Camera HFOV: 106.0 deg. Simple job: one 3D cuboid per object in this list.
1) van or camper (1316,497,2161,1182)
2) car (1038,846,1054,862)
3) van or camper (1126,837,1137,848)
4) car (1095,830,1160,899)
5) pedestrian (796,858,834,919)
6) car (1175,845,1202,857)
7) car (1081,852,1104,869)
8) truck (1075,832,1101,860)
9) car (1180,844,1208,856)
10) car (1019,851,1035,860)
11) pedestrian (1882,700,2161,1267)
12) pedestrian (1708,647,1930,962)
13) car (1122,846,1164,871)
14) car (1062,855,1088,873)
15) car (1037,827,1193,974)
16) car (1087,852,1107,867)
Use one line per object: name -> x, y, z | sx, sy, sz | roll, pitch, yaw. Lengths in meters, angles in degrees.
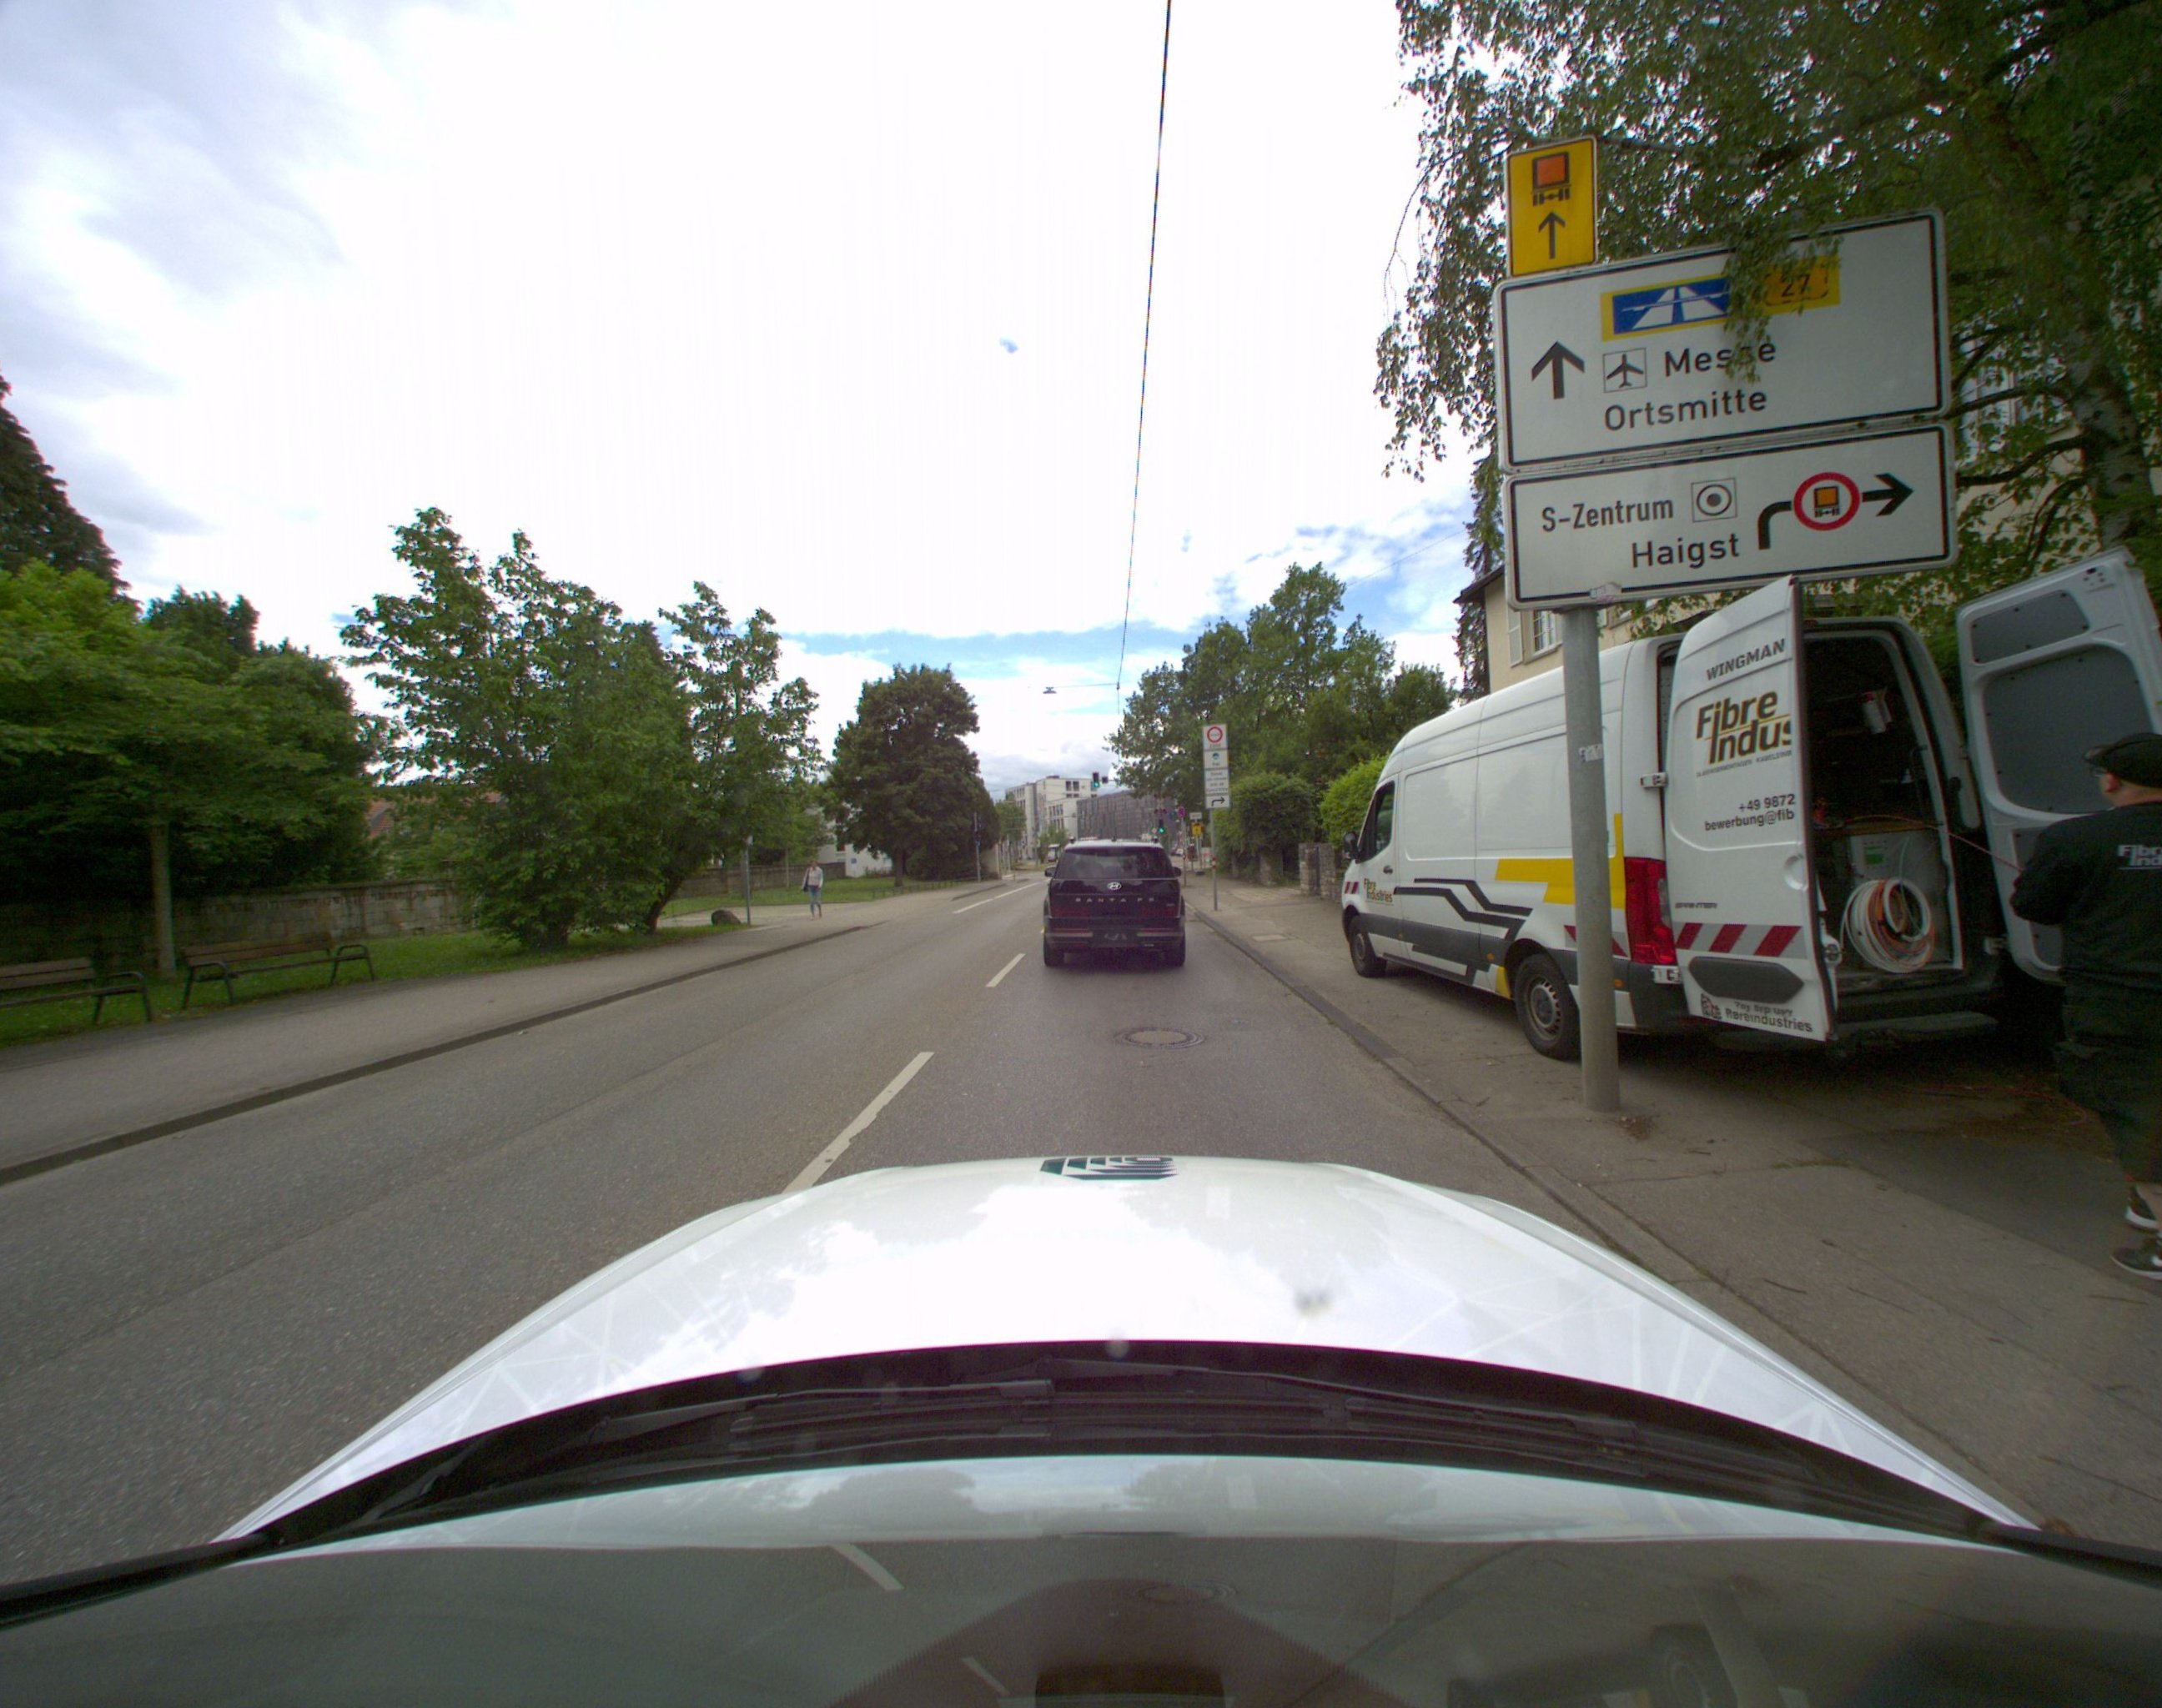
van or camper -> 4.082, -0.064, 6.423 | 2.333, 2.494, 6.601 | -6, -1, 0
car -> -5.362, -0.066, 125.808 | 2.328, 2.315, 4.952 | -3, 0, -3
van or camper -> 9.593, -2.238, 153.770 | 1.790, 1.998, 3.822 | 0, 0, -1
car -> 1.470, 0.319, 26.076 | 1.889, 2.042, 3.997 | 0, 0, 3
pedestrian -> -7.800, 1.000, 23.939 | 0.764, 1.748, 0.905 | -1, 0, 1
car -> 16.116, -0.386, 122.070 | 3.638, 1.584, 1.747 | -3, 0, -7
car -> 1.155, 0.664, 82.767 | 1.881, 1.638, 3.890 | -3, 0, -6
truck -> 0.979, -1.096, 120.928 | 3.101, 3.859, 9.610 | -3, 0, -3
car -> 15.995, -0.555, 115.381 | 3.672, 1.584, 1.690 | -3, 0, 5
car -> -13.065, 0.329, 197.338 | 2.005, 1.837, 4.554 | -3, 0, -31
pedestrian -> 3.484, 0.384, 2.810 | 0.743, 1.721, 0.797 | -5, -1, 30
pedestrian -> 4.246, -0.249, 4.767 | 0.791, 1.643, 0.743 | -4, -1, 36
car -> 4.708, 0.307, 61.216 | 1.852, 1.660, 4.318 | -3, 0, 21
car -> -0.538, 0.830, 68.550 | 1.879, 1.420, 3.995 | -3, 0, -3
car -> 0.505, 0.566, 11.923 | 1.889, 1.776, 3.997 | 0, 0, 3
car -> 1.847, 0.639, 96.738 | 1.881, 1.638, 3.890 | -3, 0, -6
